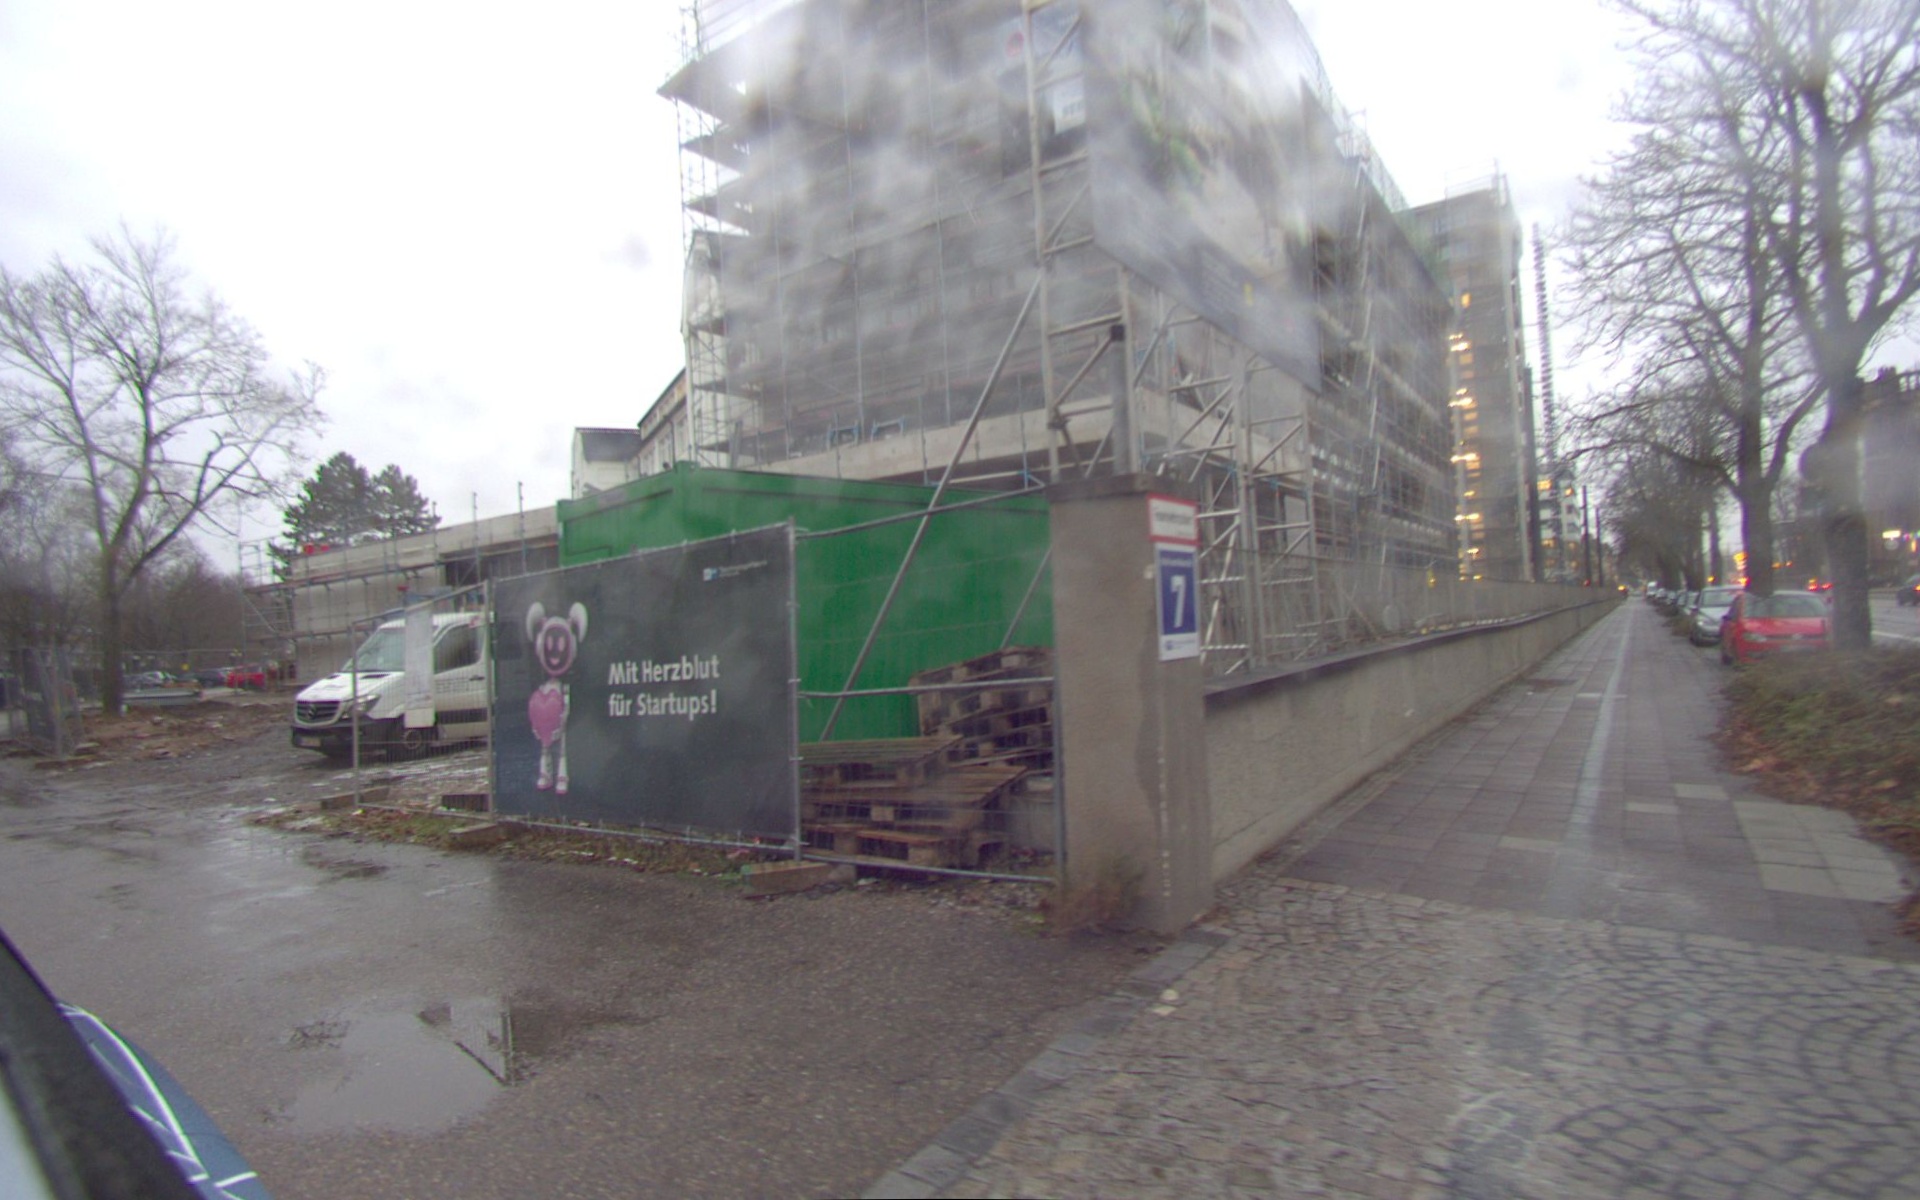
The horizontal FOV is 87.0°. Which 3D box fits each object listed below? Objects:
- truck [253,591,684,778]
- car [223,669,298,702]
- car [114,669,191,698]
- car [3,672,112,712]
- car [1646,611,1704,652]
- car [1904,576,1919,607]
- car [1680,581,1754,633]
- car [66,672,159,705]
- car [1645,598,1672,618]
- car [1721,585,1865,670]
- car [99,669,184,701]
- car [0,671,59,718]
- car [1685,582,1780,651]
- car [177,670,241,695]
[{"bbox_3d":[-8.214,1.241,18.081,2.121,2.607,7.017,-4,-1,27],"label":"truck"},{"bbox_3d":[-38.466,4.678,55.719,3.253,1.535,1.709,-1,-2,-29],"label":"car"},{"bbox_3d":[-57.558,5.922,72.201,3.931,1.810,1.808,-2,-2,-25],"label":"car"},{"bbox_3d":[-47.538,4.822,53.424,3.931,1.810,1.808,-2,-2,-25],"label":"car"},{"bbox_3d":[30.682,1.333,43.382,1.864,1.606,3.951,-4,-3,36],"label":"car"},{"bbox_3d":[45.896,-0.446,47.429,1.762,1.422,3.953,-4,-2,34],"label":"car"},{"bbox_3d":[26.119,0.254,34.977,1.864,1.606,3.951,-4,-3,36],"label":"car"},{"bbox_3d":[-51.042,5.311,61.043,3.931,1.674,2.006,-2,-2,-25],"label":"car"},{"bbox_3d":[59.830,0.678,86.662,1.751,1.596,3.691,-4,-3,36],"label":"car"},{"bbox_3d":[15.375,0.501,18.858,1.751,1.398,3.691,-4,-2,36],"label":"car"},{"bbox_3d":[-53.149,5.503,65.788,3.931,1.810,1.808,-2,-2,-25],"label":"car"},{"bbox_3d":[-44.638,4.422,46.854,3.931,2.007,2.006,-2,-2,-25],"label":"car"},{"bbox_3d":[20.020,0.425,26.343,1.751,1.596,3.691,-4,-3,36],"label":"car"},{"bbox_3d":[-61.418,6.736,82.869,3.931,1.810,1.808,-2,-2,-25],"label":"car"}]
